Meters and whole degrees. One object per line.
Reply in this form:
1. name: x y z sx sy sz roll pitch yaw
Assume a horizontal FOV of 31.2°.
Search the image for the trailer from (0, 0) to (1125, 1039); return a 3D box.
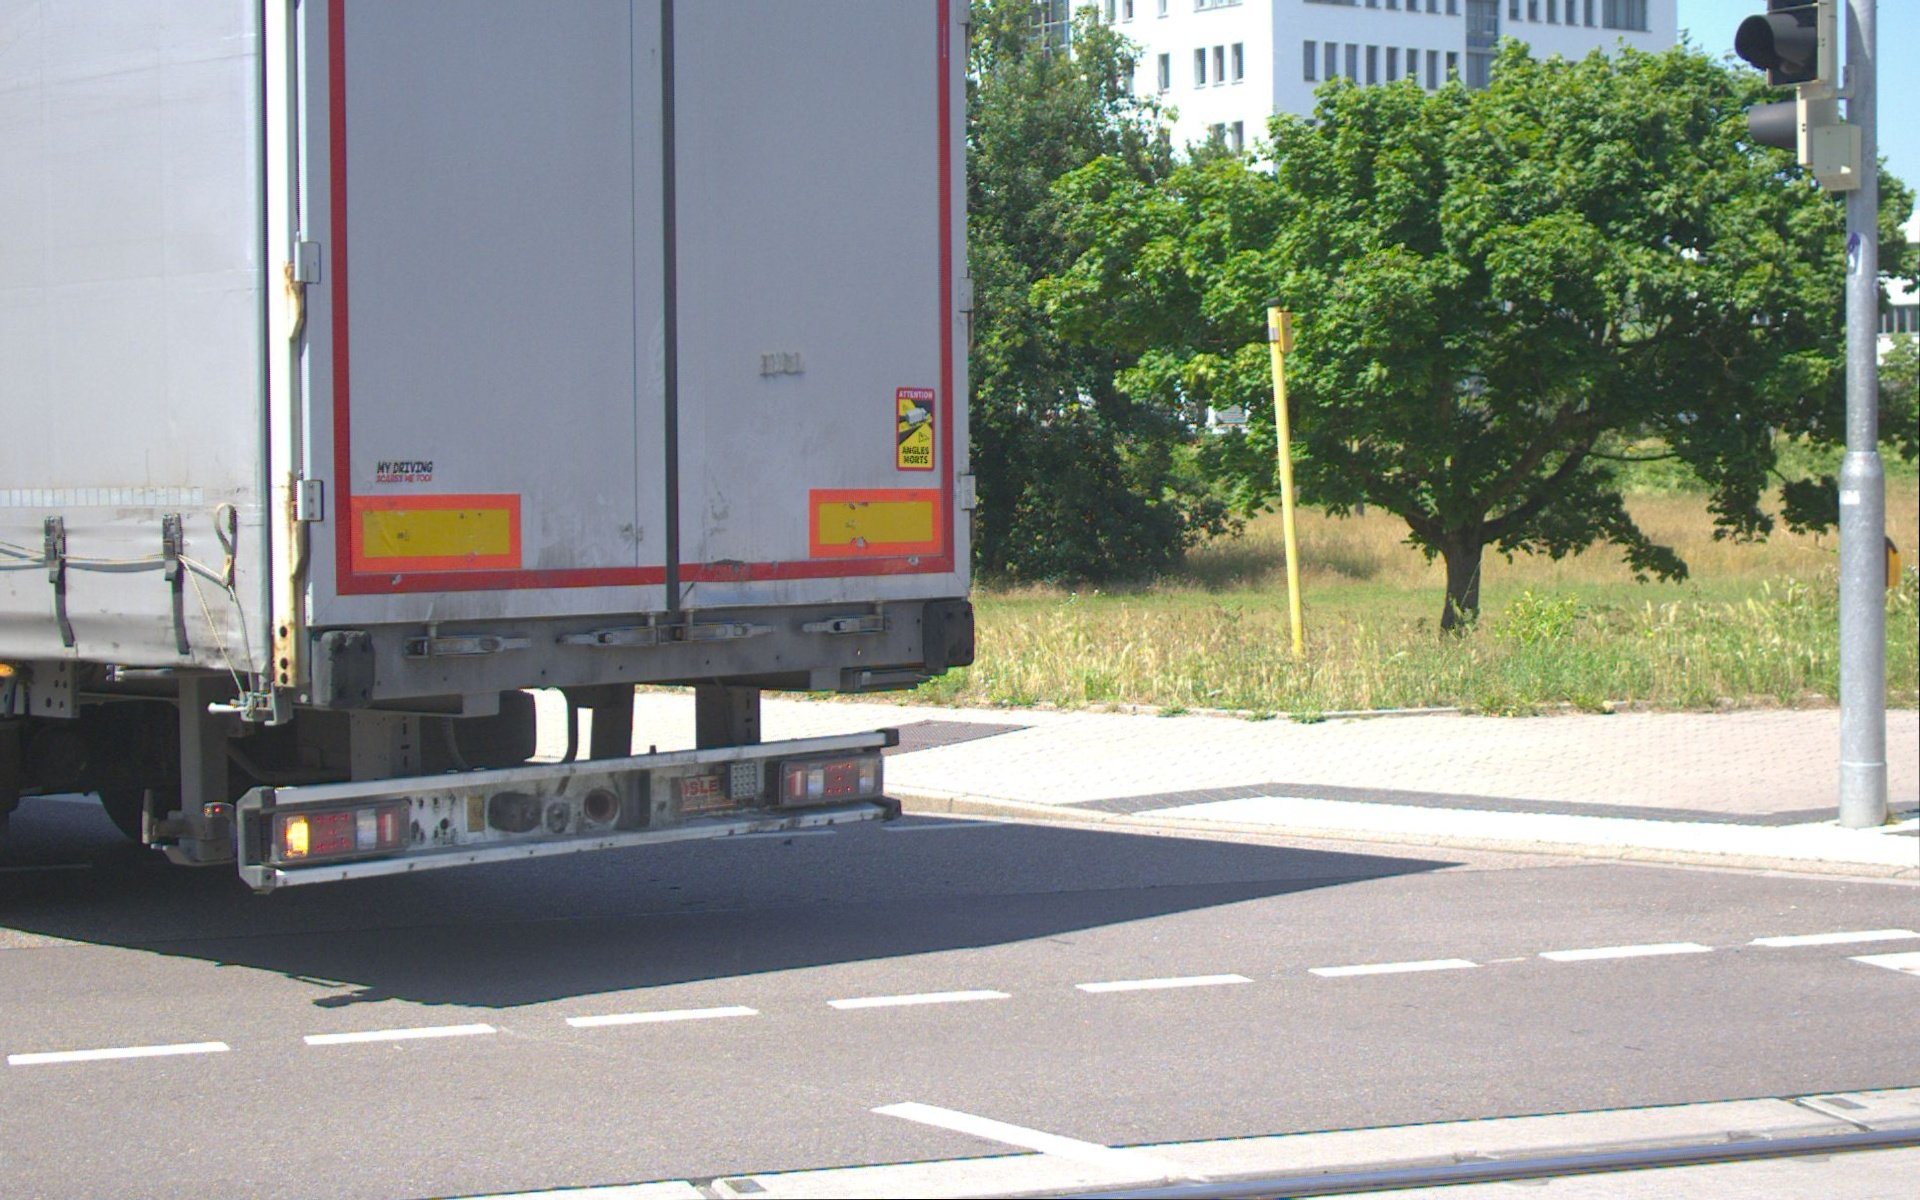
1. trailer: -4.136 -1.143 12.746 9.801 4.055 3.080 2 3 43
